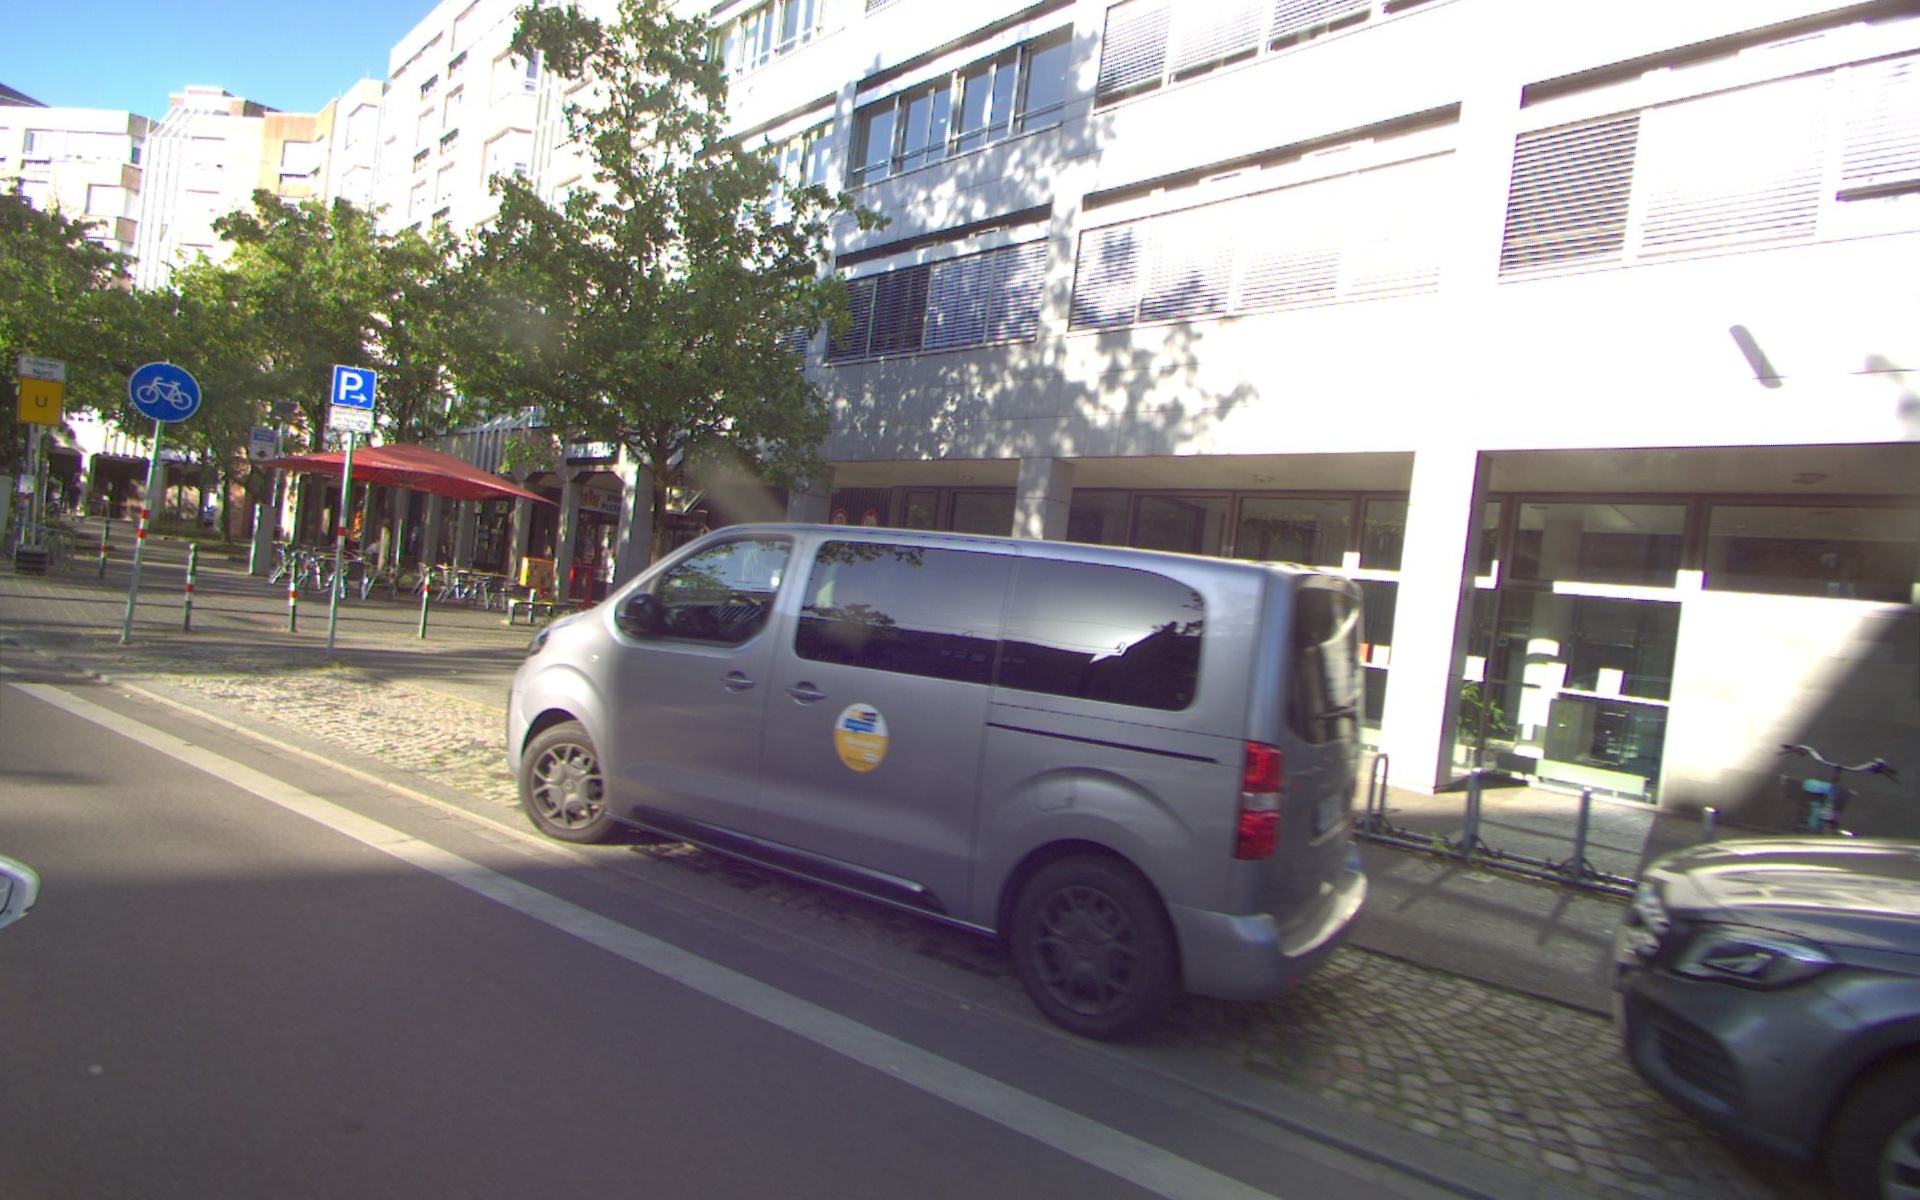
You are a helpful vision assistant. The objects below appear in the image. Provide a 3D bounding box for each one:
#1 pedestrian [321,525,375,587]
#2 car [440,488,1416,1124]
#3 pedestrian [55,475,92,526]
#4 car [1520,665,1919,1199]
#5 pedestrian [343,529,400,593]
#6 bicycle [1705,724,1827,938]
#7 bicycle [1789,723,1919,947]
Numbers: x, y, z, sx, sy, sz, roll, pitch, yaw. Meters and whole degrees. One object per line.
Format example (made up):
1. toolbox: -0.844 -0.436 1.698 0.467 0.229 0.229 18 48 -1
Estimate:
1. pedestrian: -16.995 -1.225 27.930 0.979 1.566 0.870 8 1 39
2. car: -0.436 0.563 5.366 4.844 1.868 1.922 7 3 33
3. pedestrian: -38.622 -4.334 43.832 0.868 2.039 0.867 8 1 33
4. car: 4.189 1.286 2.737 4.345 1.594 1.857 7 3 36
5. pedestrian: -15.918 -1.059 27.202 0.978 1.566 0.870 8 1 35
6. bicycle: 5.578 1.517 7.007 0.463 1.167 1.831 8 2 37
7. bicycle: 5.956 1.473 6.712 0.463 1.167 1.831 8 2 37
